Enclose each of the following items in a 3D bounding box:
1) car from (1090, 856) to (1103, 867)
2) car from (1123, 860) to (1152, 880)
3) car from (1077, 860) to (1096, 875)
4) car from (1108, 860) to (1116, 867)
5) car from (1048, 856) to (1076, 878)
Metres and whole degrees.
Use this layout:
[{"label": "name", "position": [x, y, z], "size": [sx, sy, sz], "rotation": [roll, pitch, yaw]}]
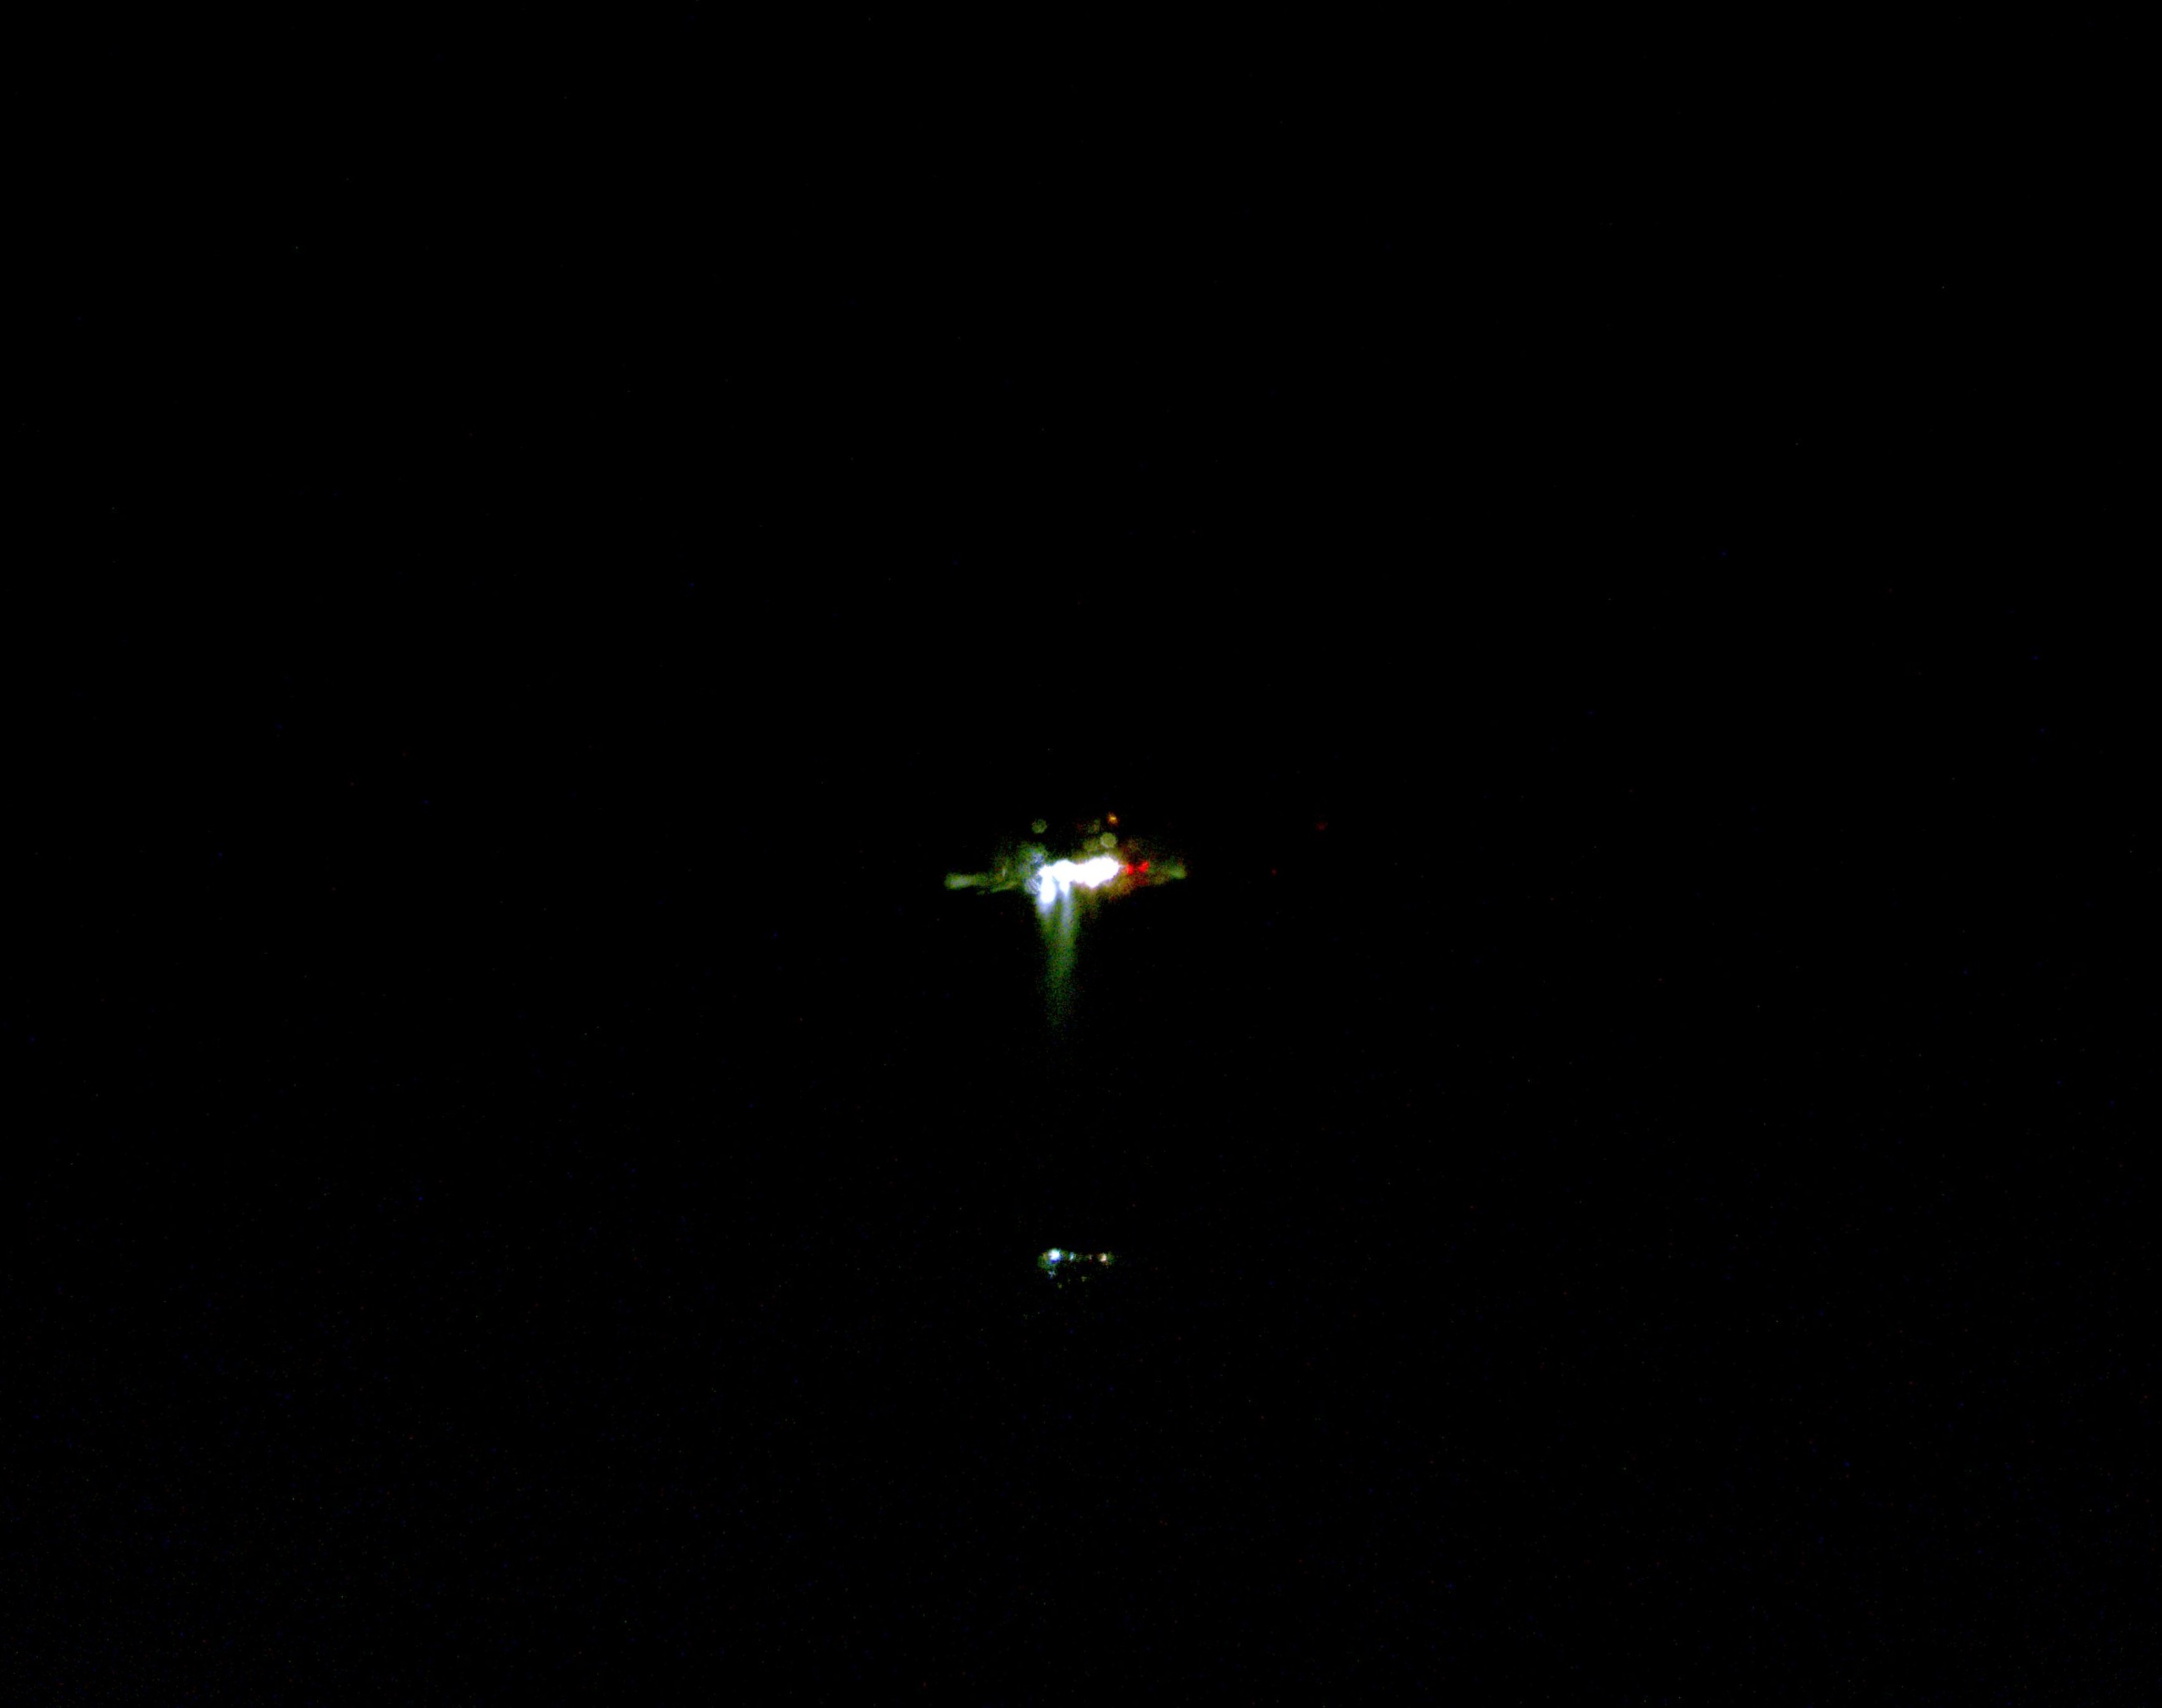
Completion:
[{"label": "car", "position": [2.513, 1.178, 124.696], "size": [1.998, 1.576, 4.000], "rotation": [-3, 0, 1]}, {"label": "car", "position": [4.673, 1.272, 62.883], "size": [1.999, 1.465, 4.275], "rotation": [-3, 0, 0]}, {"label": "car", "position": [0.653, 1.502, 86.347], "size": [1.998, 1.576, 4.000], "rotation": [-3, 0, 1]}, {"label": "car", "position": [8.237, 2.492, 203.848], "size": [1.998, 1.576, 4.000], "rotation": [-3, 0, 1]}, {"label": "car", "position": [-1.452, 1.022, 60.556], "size": [1.998, 1.576, 4.000], "rotation": [-3, 0, 1]}]
